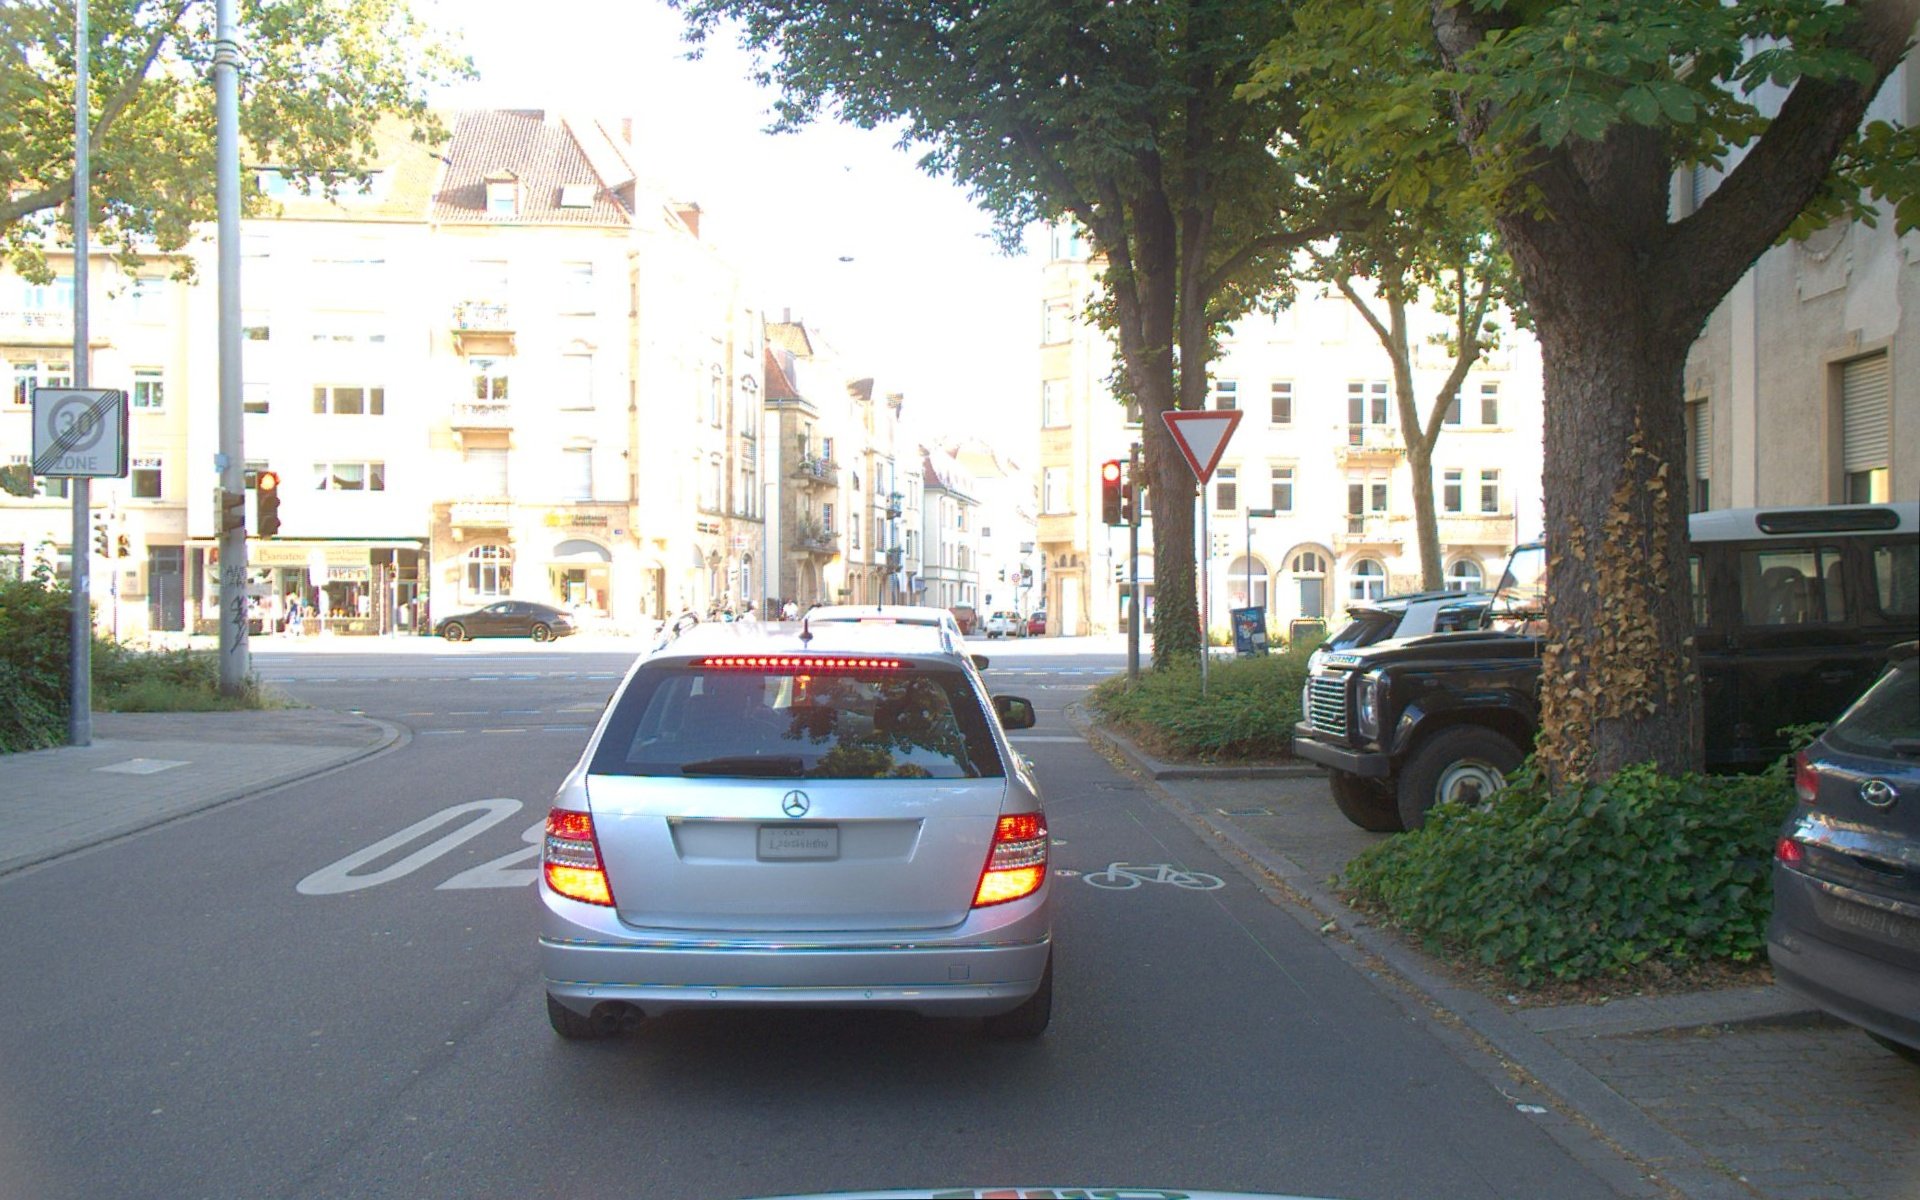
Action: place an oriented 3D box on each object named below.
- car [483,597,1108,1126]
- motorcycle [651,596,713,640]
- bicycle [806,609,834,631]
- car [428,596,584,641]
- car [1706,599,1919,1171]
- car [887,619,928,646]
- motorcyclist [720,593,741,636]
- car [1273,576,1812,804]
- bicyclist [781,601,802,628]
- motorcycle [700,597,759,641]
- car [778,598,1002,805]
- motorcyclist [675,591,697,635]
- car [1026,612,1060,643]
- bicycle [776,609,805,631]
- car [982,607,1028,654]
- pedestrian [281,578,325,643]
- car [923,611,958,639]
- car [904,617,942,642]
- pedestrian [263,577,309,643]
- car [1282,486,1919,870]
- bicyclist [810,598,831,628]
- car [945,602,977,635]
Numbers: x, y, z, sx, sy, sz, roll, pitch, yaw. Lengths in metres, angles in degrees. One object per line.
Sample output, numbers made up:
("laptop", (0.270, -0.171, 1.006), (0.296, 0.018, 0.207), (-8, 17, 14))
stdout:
("car", (-0.549, 0.741, 6.936), (1.741, 1.477, 4.546), (1, 0, -2))
("motorcycle", (-9.333, 0.598, 55.619), (1.993, 1.477, 0.568), (0, 0, -5))
("bicycle", (-6.203, 0.886, 73.361), (0.754, 0.950, 1.942), (1, 0, 10))
("car", (-15.242, 0.608, 55.760), (4.788, 1.477, 1.857), (0, 0, -5))
("car", (4.286, 0.705, 4.598), (3.650, 1.477, 1.707), (-1, 0, -4))
("car", (-3.064, 1.877, 96.960), (1.796, 1.427, 4.003), (0, 1, 7))
("motorcyclist", (-7.957, 0.494, 57.274), (0.668, 1.477, 0.568), (0, 0, -5))
("car", (4.512, 0.663, 13.144), (3.650, 1.597, 1.707), (-1, 0, -4))
("bicyclist", (-7.481, 0.645, 73.332), (0.754, 1.177, 0.753), (1, 0, 10))
("motorcycle", (-7.984, 0.653, 57.271), (1.993, 1.477, 0.568), (0, 0, -5))
("car", (-0.589, 0.730, 14.026), (1.587, 1.472, 4.342), (1, 0, -2))
("motorcyclist", (-9.202, 0.441, 55.631), (0.668, 1.477, 0.568), (0, 0, -5))
("car", (5.126, 1.664, 101.979), (1.796, 1.775, 4.003), (0, 1, 7))
("bicycle", (-7.499, 0.870, 73.254), (0.754, 0.956, 1.942), (1, 0, 10))
("car", (2.361, 1.560, 85.906), (1.987, 2.319, 4.003), (0, 1, 7))
("pedestrian", (-25.570, 0.398, 64.400), (1.320, 2.507, 1.059), (0, 0, -5))
("car", (-1.260, 1.640, 108.712), (1.796, 1.692, 4.003), (0, 1, 7))
("car", (-2.264, 1.828, 102.464), (1.796, 1.427, 4.003), (0, 1, 7))
("pedestrian", (-25.737, 0.377, 63.167), (1.320, 2.507, 1.059), (0, 0, -5))
("car", (4.371, 0.416, 10.177), (4.377, 2.072, 1.699), (-1, 0, -4))
("bicyclist", (-6.200, 0.587, 73.362), (0.754, 1.312, 0.753), (1, 0, 10))
("car", (0.093, 1.288, 117.326), (1.749, 2.242, 4.003), (0, 1, 7))
